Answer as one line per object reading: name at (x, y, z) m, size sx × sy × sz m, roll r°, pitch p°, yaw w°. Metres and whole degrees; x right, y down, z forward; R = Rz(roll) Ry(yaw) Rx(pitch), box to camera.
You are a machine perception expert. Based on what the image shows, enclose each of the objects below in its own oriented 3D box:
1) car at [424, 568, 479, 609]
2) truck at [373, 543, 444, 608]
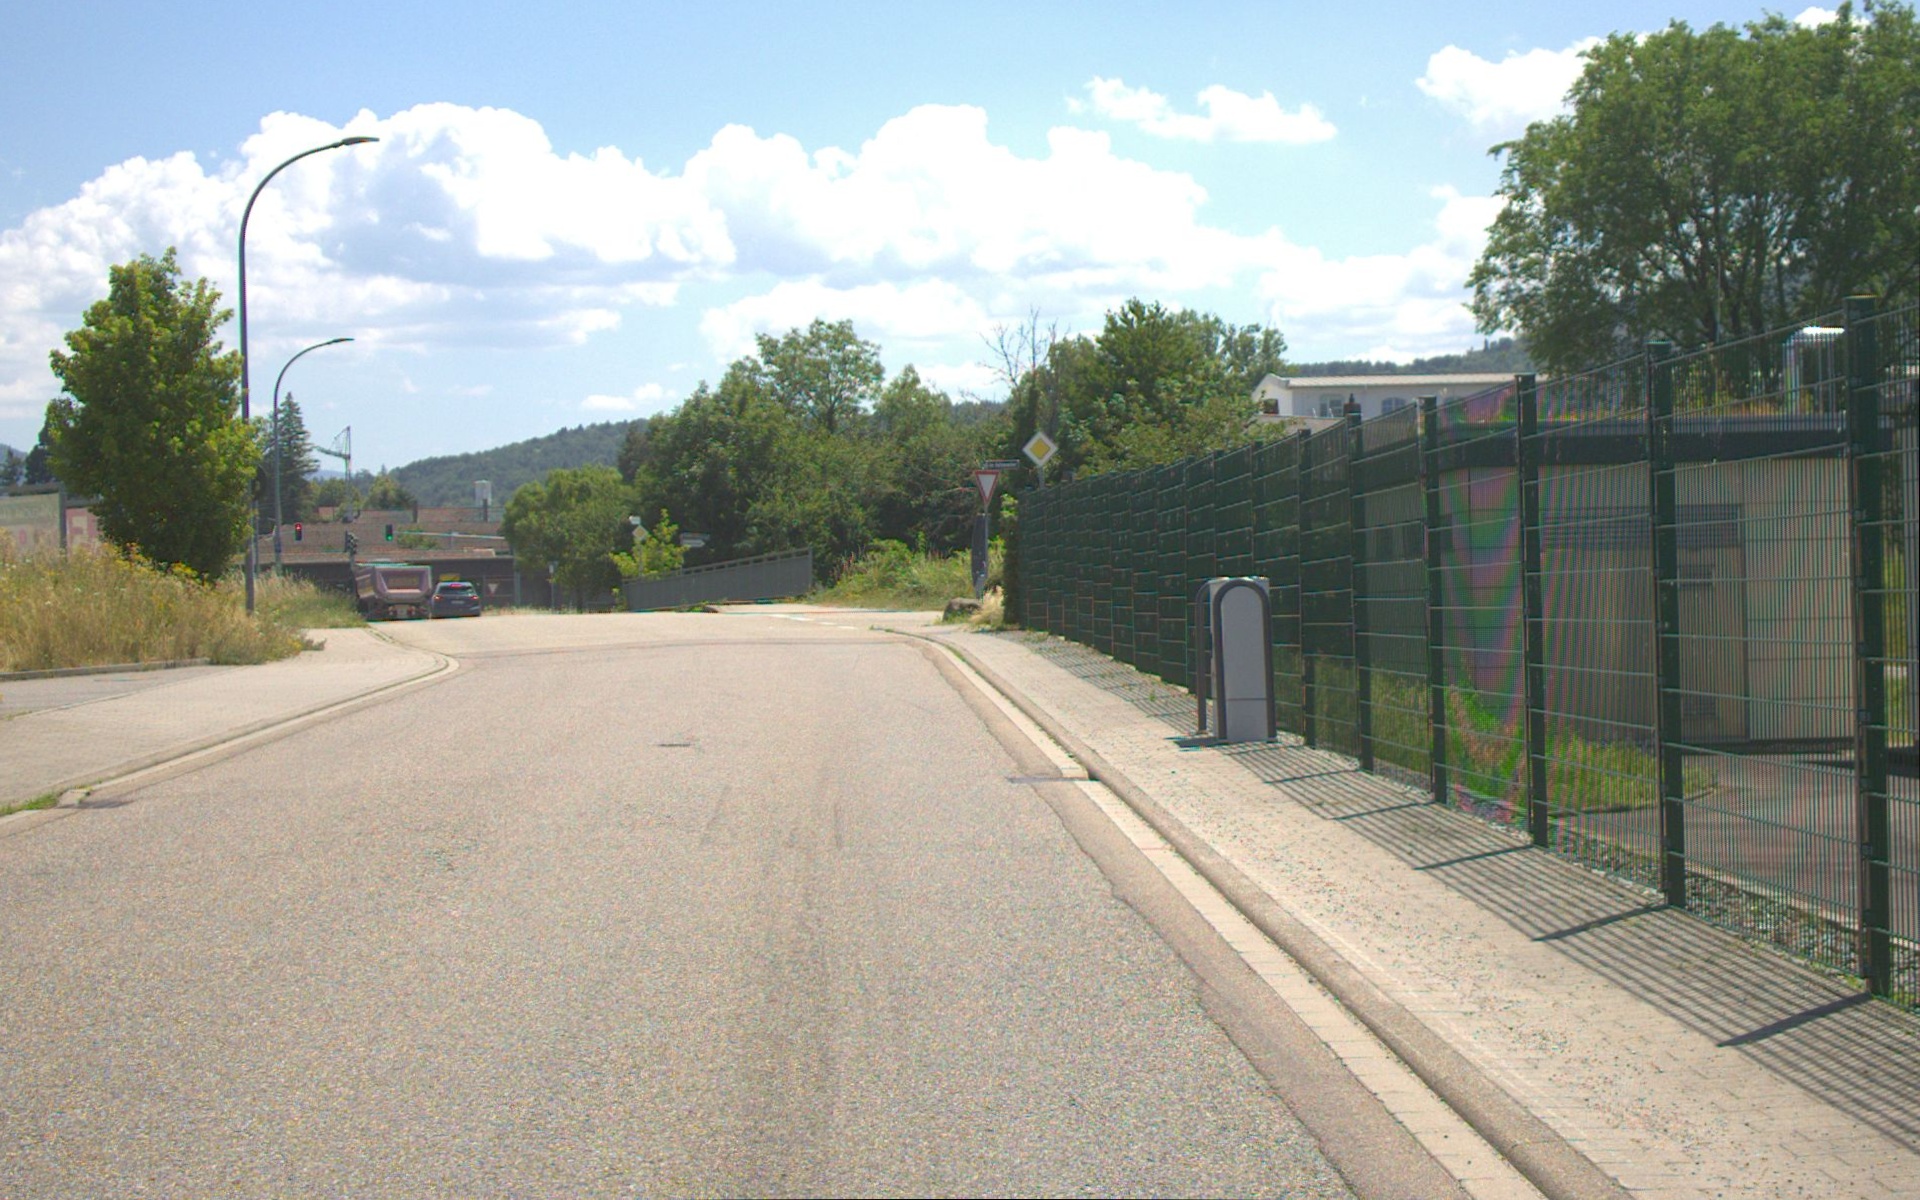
car at (-18.873, -0.440, 127.451) m, size 1.775 × 1.443 × 3.453 m, roll -1°, pitch 1°, yaw -12°
truck at (-24.333, -1.104, 151.455) m, size 2.682 × 2.763 × 6.091 m, roll -1°, pitch 1°, yaw -13°
